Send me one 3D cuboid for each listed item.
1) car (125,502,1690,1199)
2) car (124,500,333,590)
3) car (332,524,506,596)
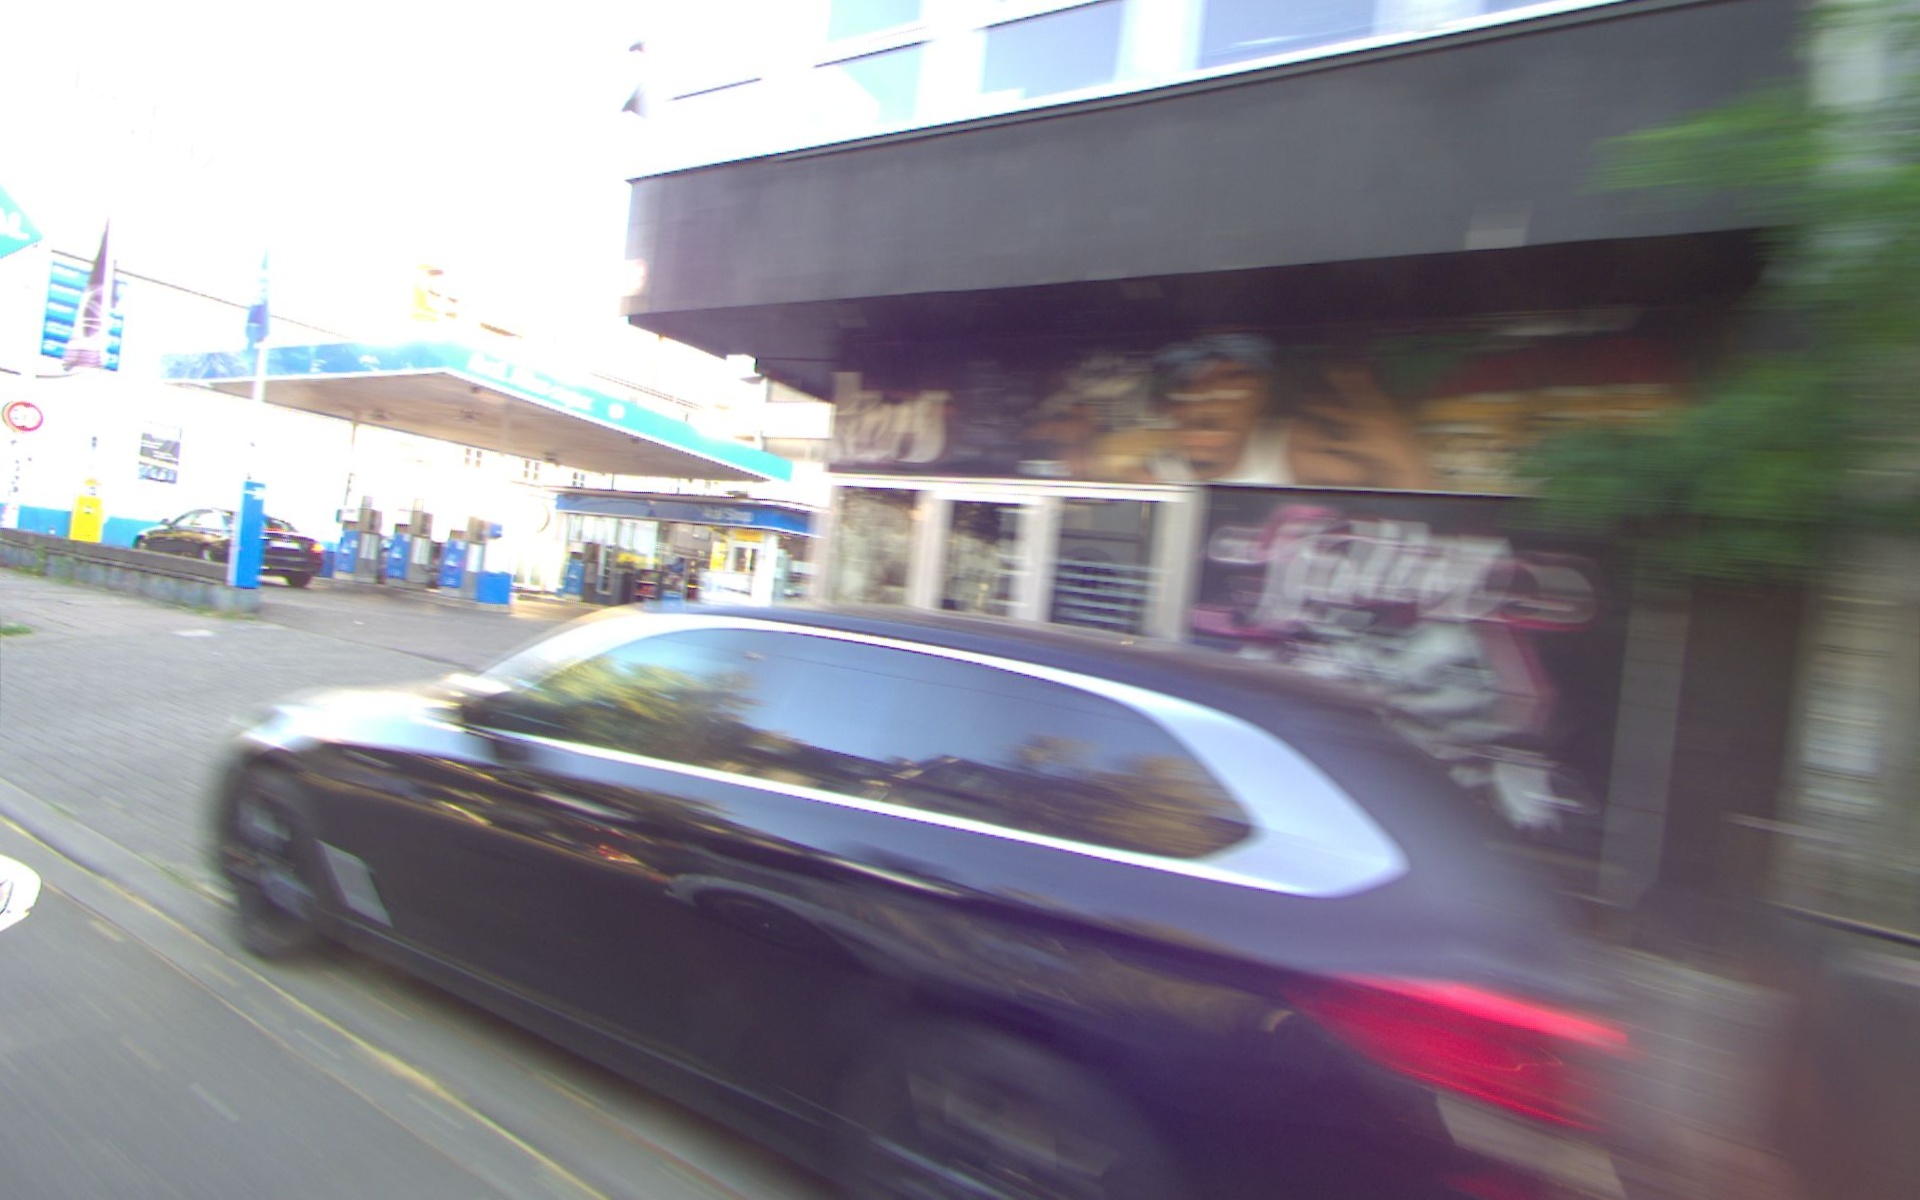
[{"bbox_3d":[-0.639,0.655,3.454,4.767,1.507,1.830,7,1,30],"label":"car"},{"bbox_3d":[-15.258,-1.172,20.912,4.827,1.448,1.736,5,0,32],"label":"car"},{"bbox_3d":[-13.837,-1.043,25.654,4.680,1.419,1.712,5,0,32],"label":"car"}]
